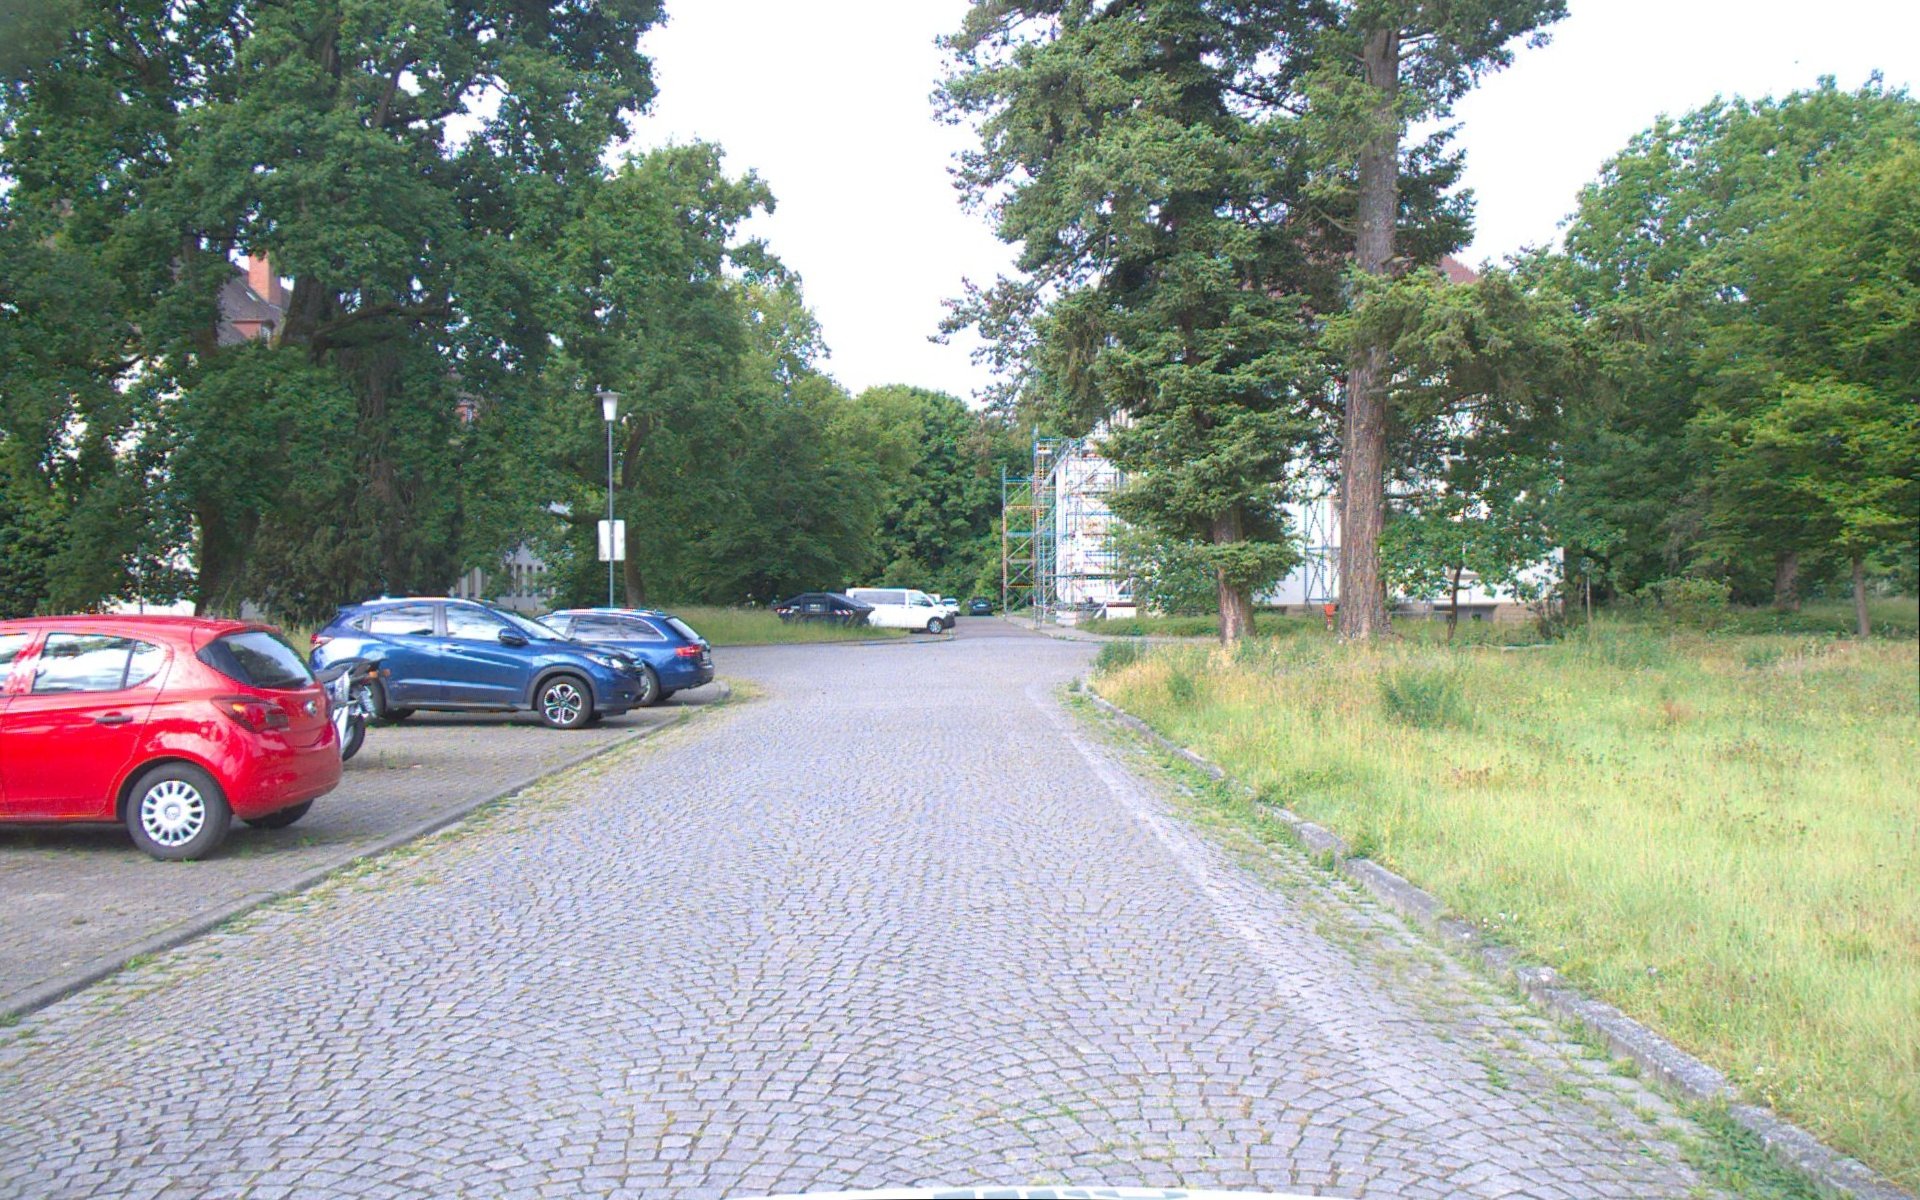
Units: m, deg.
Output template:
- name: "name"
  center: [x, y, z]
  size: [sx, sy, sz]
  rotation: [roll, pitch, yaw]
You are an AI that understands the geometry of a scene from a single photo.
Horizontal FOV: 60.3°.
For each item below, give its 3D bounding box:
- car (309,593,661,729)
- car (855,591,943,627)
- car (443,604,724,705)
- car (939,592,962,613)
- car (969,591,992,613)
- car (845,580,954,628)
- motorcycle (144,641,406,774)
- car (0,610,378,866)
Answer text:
- name: "car"
  center: [-5.982, 0.739, 21.185]
  size: [3.989, 1.632, 1.787]
  rotation: [0, 0, -2]
- name: "car"
  center: [-3.382, 0.509, 92.306]
  size: [4.878, 2.003, 2.051]
  rotation: [0, -1, -2]
- name: "car"
  center: [-5.833, 0.829, 25.884]
  size: [3.986, 1.493, 1.626]
  rotation: [0, 0, 3]
- name: "car"
  center: [-0.824, 0.257, 140.973]
  size: [1.754, 1.665, 4.059]
  rotation: [-1, -1, -2]
- name: "car"
  center: [1.742, 0.174, 141.333]
  size: [1.754, 1.750, 4.059]
  rotation: [-1, -1, -2]
- name: "car"
  center: [-2.731, 0.187, 74.904]
  size: [4.878, 2.109, 2.051]
  rotation: [0, -1, -2]
- name: "motorcycle"
  center: [-6.394, 0.991, 15.493]
  size: [2.180, 1.179, 0.647]
  rotation: [-1, 0, 2]
- name: "car"
  center: [-6.035, 0.849, 10.934]
  size: [3.739, 1.515, 1.787]
  rotation: [0, 0, -2]
